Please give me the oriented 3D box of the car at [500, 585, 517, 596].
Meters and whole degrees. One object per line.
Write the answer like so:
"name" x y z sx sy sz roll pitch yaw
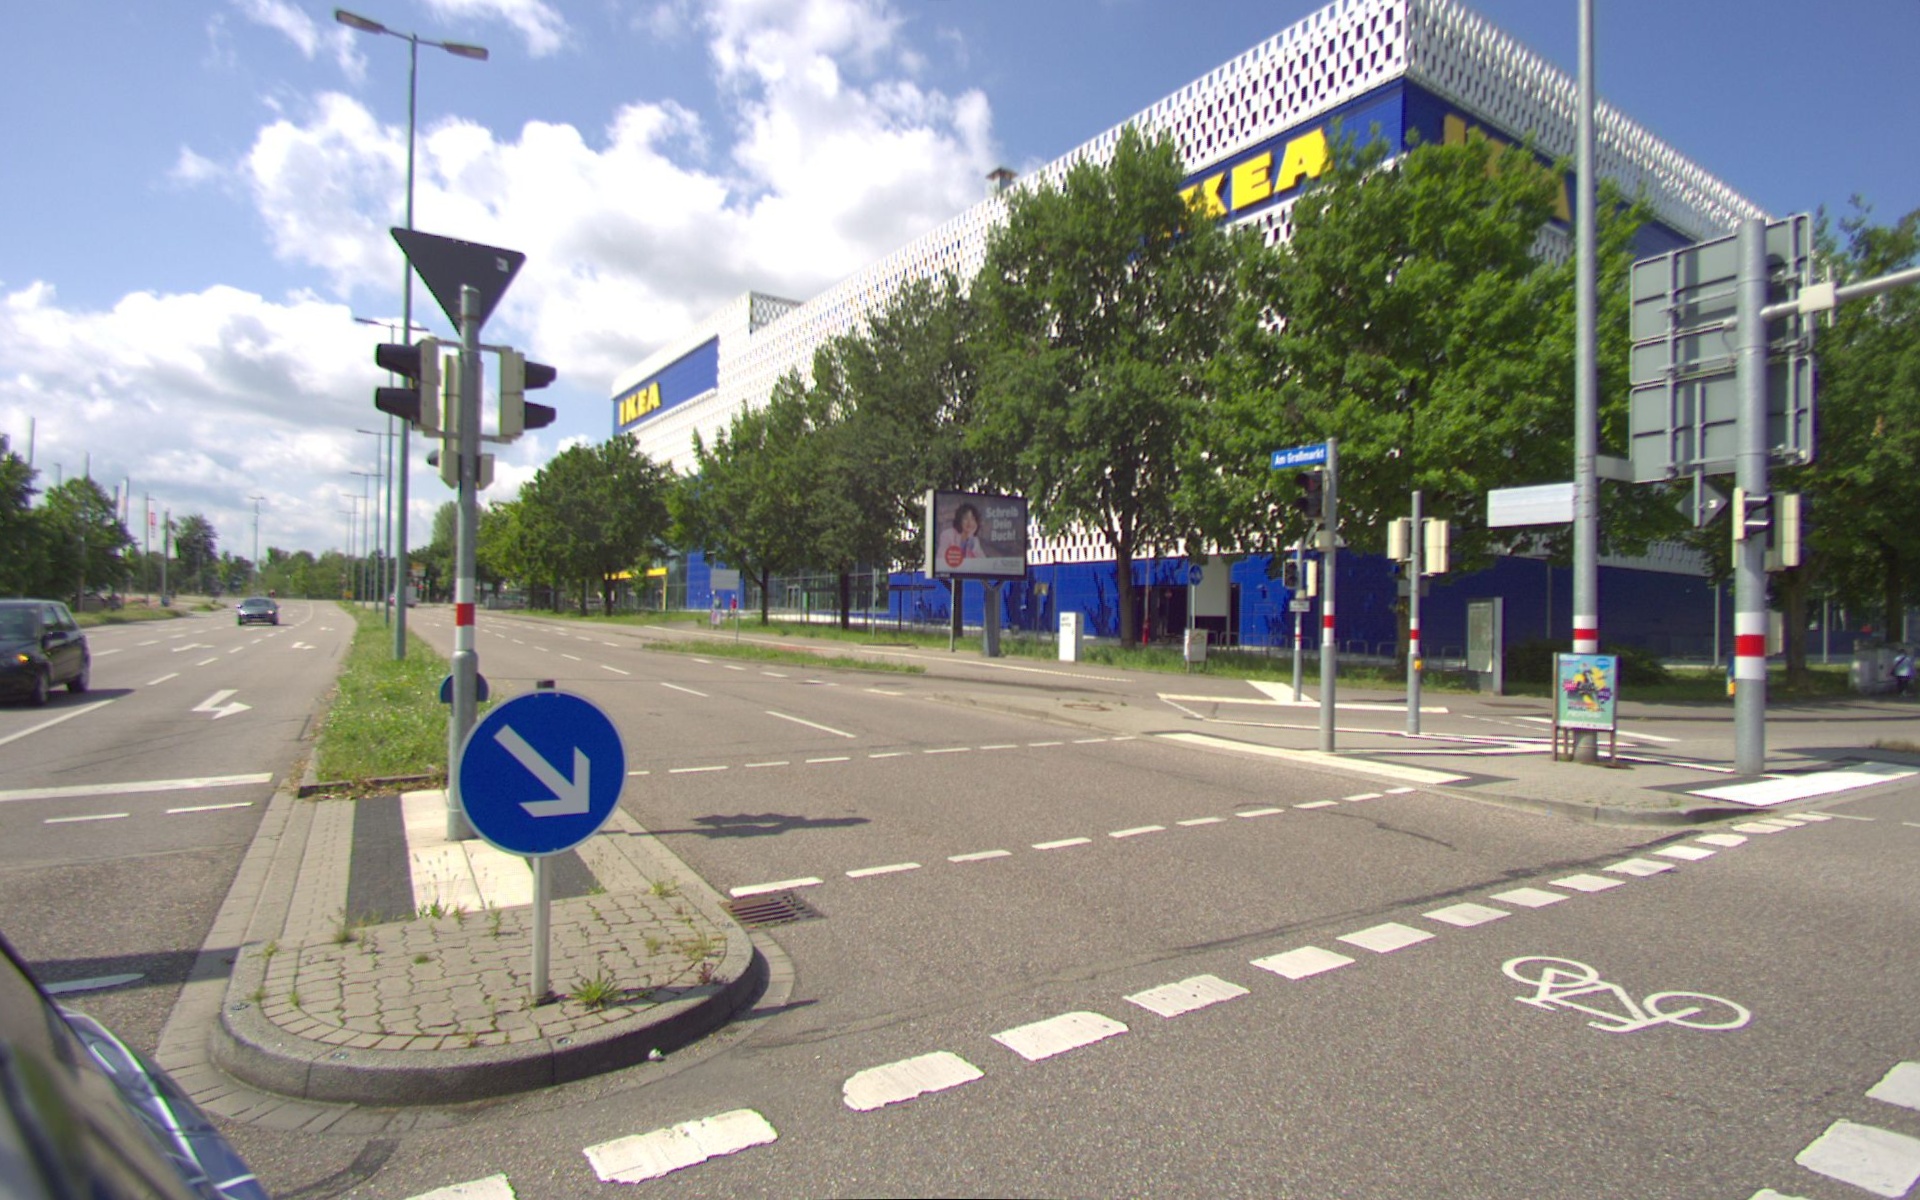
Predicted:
"car" -67.712 -1.443 151.731 1.909 1.696 4.012 0 0 -30

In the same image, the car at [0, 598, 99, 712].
"car" -14.469 0.743 15.239 1.580 1.541 4.282 1 -1 -31

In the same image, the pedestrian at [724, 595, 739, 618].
"pedestrian" -17.216 0.486 76.264 0.840 1.741 1.168 0 0 -28

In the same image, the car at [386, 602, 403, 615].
"car" -76.546 1.141 136.893 1.909 1.696 4.012 0 0 -30

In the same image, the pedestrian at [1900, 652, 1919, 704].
"pedestrian" 29.338 2.390 31.099 0.748 1.567 0.505 2 -2 -35

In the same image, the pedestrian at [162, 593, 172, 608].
"pedestrian" -95.217 0.090 121.516 0.541 1.827 0.700 0 0 19

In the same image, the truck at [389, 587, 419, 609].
"truck" -71.366 -0.281 129.835 2.924 2.773 5.801 0 0 -33

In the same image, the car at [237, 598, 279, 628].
"car" -37.911 0.717 54.703 1.580 1.541 4.282 1 -2 -31
